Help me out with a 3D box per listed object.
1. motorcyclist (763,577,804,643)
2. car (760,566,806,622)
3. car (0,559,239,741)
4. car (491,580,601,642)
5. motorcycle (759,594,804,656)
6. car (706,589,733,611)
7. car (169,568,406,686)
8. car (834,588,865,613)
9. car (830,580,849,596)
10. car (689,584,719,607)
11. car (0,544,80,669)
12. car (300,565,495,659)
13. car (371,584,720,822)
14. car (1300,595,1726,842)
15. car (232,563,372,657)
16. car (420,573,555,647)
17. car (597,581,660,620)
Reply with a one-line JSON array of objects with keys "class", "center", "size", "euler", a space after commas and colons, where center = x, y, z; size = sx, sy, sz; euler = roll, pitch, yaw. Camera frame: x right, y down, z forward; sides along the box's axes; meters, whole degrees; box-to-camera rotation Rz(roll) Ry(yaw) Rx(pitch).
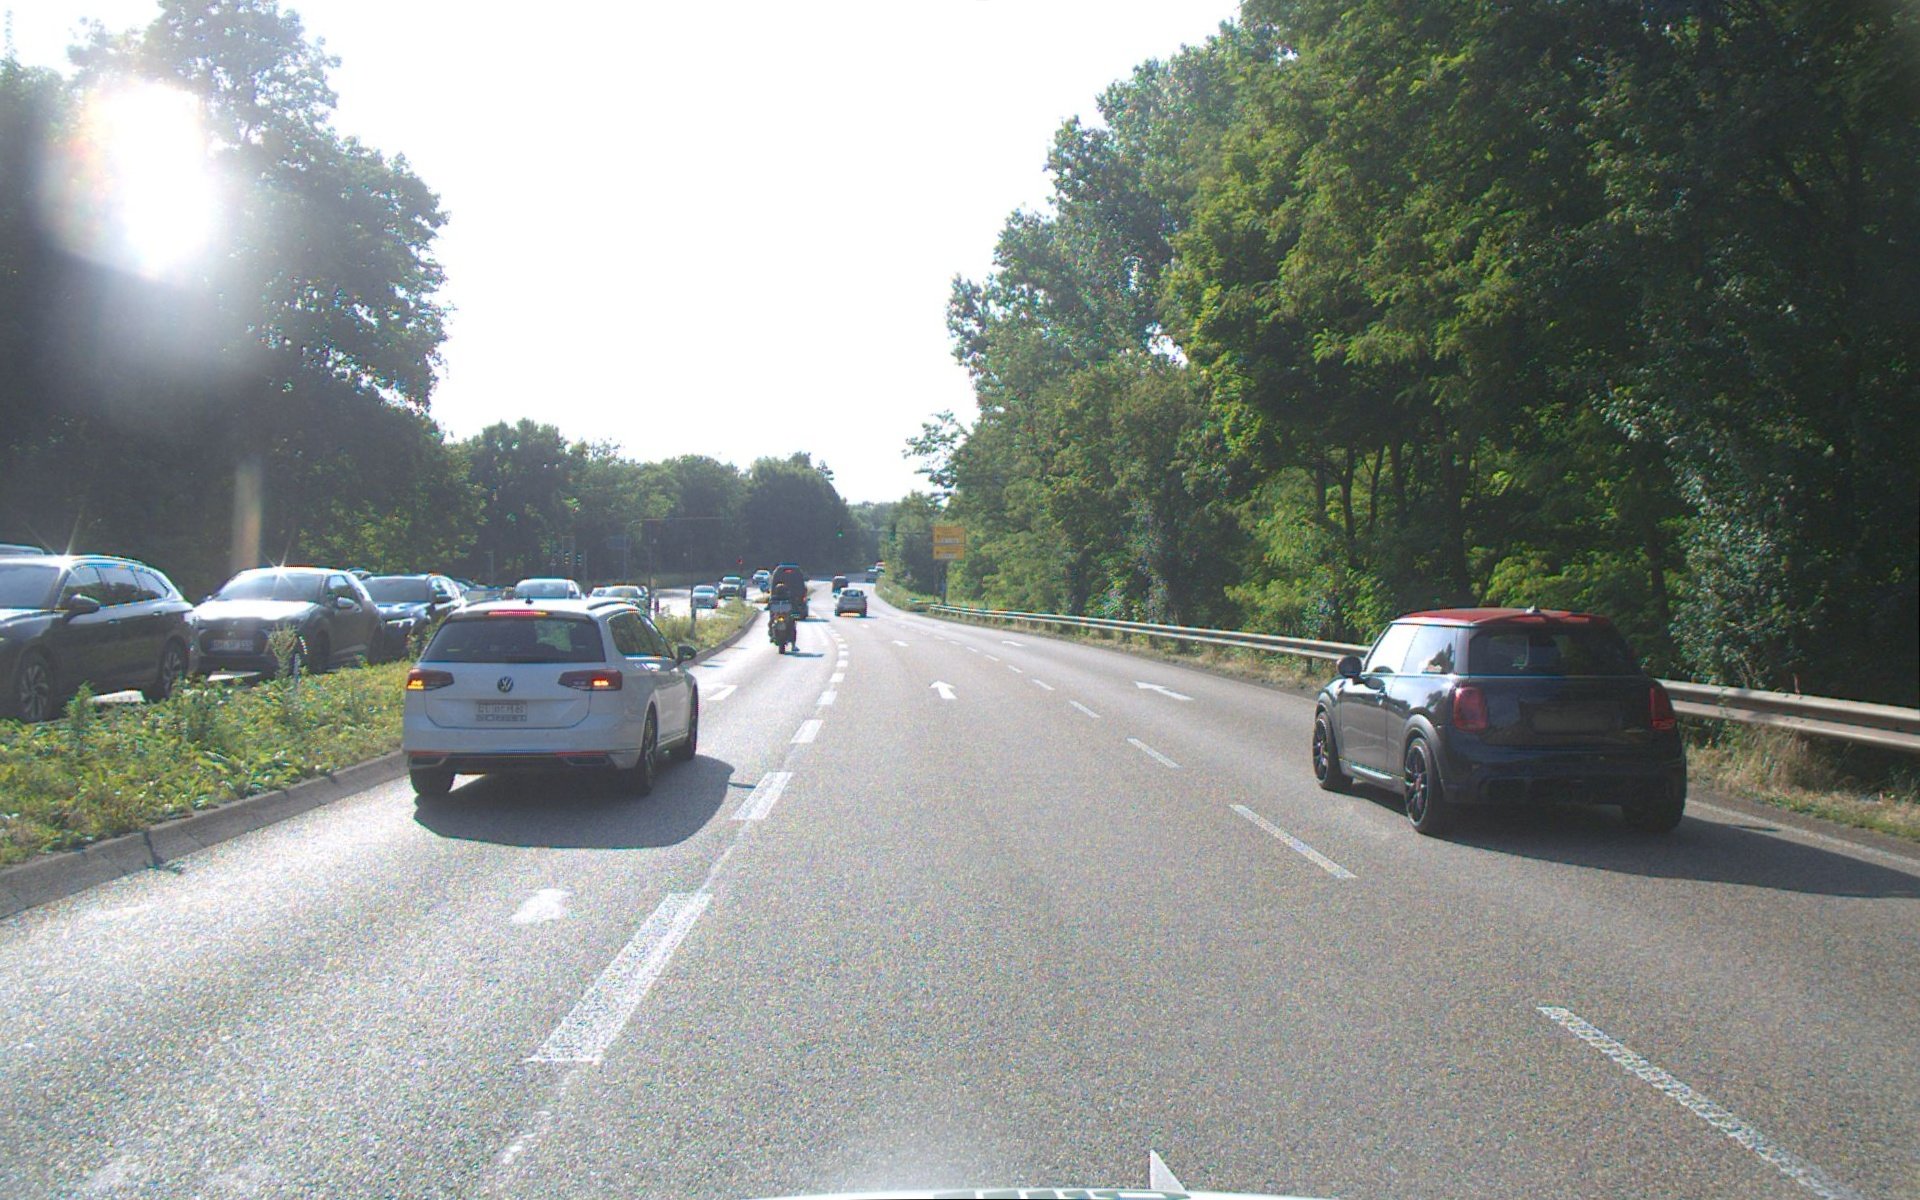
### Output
[{"class": "motorcyclist", "center": [-4.565, 0.249, 42.771], "size": [0.866, 1.644, 1.290], "euler": [3, 0, -1]}, {"class": "car", "center": [-9.719, -0.355, 91.254], "size": [2.166, 2.939, 7.007], "euler": [0, 1, -3]}, {"class": "car", "center": [-8.603, 0.370, 15.411], "size": [1.736, 1.448, 5.189], "euler": [0, 1, -3]}, {"class": "car", "center": [-10.179, 0.236, 40.935], "size": [1.830, 1.442, 4.413], "euler": [0, 1, -3]}, {"class": "motorcycle", "center": [-4.602, 0.624, 42.811], "size": [0.890, 1.479, 2.688], "euler": [-2, 1, -1]}, {"class": "car", "center": [-19.841, -0.005, 136.557], "size": [2.036, 1.794, 4.751], "euler": [0, 1, -6]}, {"class": "car", "center": [-8.956, 0.311, 22.399], "size": [1.673, 1.448, 4.209], "euler": [0, 1, -3]}, {"class": "car", "center": [-6.656, 0.025, 99.818], "size": [1.726, 1.404, 3.970], "euler": [2, 0, -2]}, {"class": "car", "center": [-12.535, -1.209, 171.837], "size": [1.711, 1.564, 3.920], "euler": [3, 0, -7]}, {"class": "car", "center": [-17.499, -0.296, 113.086], "size": [1.754, 1.436, 4.222], "euler": [3, 0, -6]}, {"class": "car", "center": [-16.095, 0.140, 25.986], "size": [1.972, 1.969, 5.099], "euler": [-2, 1, -3]}, {"class": "car", "center": [-9.384, 0.162, 28.047], "size": [1.731, 1.448, 5.190], "euler": [0, 1, -3]}, {"class": "car", "center": [-3.208, 0.692, 13.839], "size": [1.833, 1.548, 4.831], "euler": [3, 0, -3]}, {"class": "car", "center": [3.794, 0.725, 12.082], "size": [1.782, 1.493, 3.872], "euler": [0, 0, -1]}, {"class": "car", "center": [-13.211, 0.174, 33.419], "size": [1.593, 1.735, 3.572], "euler": [-2, 1, -5]}, {"class": "car", "center": [-9.698, 0.170, 34.285], "size": [1.732, 1.442, 4.431], "euler": [0, 1, -3]}, {"class": "car", "center": [-15.632, -0.011, 78.321], "size": [2.061, 1.738, 6.221], "euler": [0, 1, -3]}]
